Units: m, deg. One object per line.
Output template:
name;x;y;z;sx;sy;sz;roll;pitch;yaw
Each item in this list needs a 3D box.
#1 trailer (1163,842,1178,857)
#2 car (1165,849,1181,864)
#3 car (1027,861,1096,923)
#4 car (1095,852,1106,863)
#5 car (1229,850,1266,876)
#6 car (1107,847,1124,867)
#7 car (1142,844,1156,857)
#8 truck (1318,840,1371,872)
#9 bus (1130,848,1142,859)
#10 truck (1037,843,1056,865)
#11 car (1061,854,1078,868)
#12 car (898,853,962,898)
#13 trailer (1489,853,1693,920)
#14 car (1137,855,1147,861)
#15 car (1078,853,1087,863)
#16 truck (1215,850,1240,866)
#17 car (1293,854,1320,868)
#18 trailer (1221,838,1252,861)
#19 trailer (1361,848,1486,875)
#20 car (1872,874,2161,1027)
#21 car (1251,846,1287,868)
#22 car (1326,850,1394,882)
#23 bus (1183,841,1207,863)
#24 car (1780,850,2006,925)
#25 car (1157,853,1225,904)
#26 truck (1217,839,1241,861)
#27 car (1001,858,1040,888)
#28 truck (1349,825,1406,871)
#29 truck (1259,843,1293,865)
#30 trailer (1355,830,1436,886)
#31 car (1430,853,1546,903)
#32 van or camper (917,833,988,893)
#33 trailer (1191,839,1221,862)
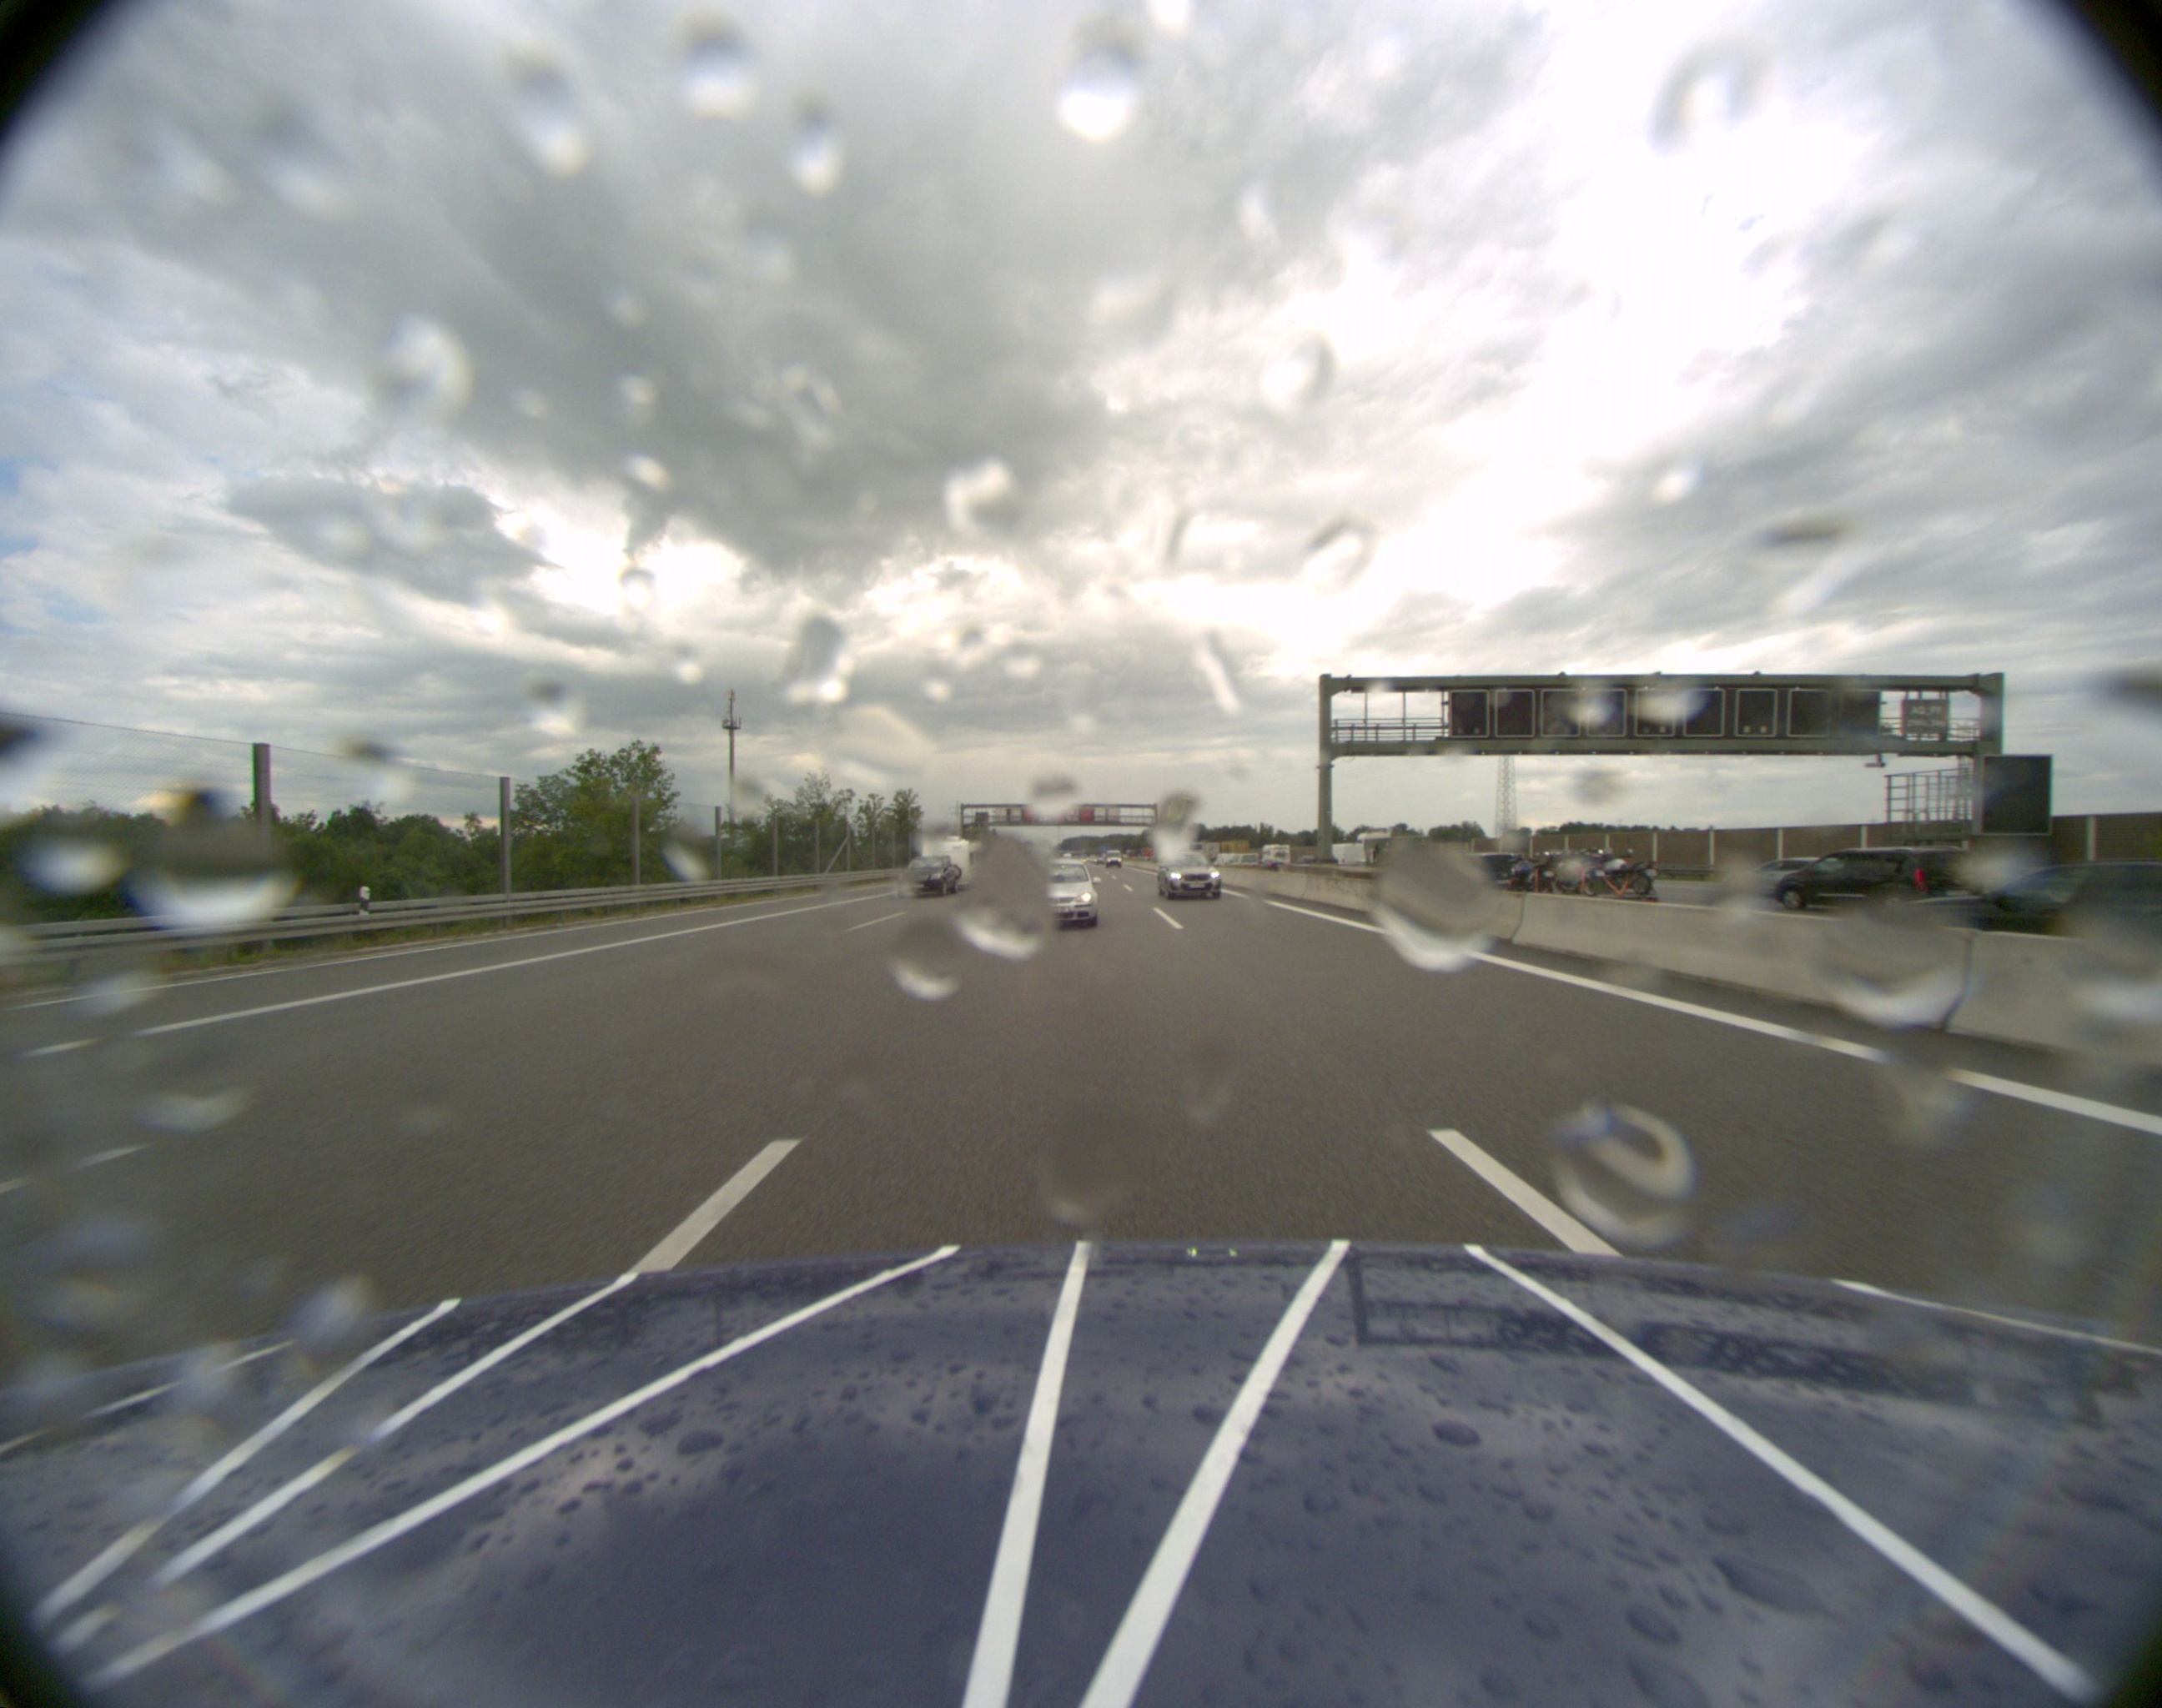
trailer;27.006;-1.278;229.488;2.908;4.091;12.697;-2;0;-1
car;15.558;0.461;128.637;2.141;2.338;5.711;-2;0;1
car;-0.499;0.944;20.672;1.683;1.437;3.999;-1;0;-1
car;3.746;0.718;145.866;1.999;2.002;4.000;-2;0;-1
car;15.054;0.760;69.118;2.235;2.224;5.513;0;0;1
car;4.690;0.404;103.836;1.999;2.524;4.808;-2;0;-1
car;22.346;-1.056;248.794;2.990;4.099;14.394;-2;0;-1
truck;22.488;0.121;65.130;2.249;2.588;6.558;-1;0;0
bus;18.792;-0.168;260.968;2.897;3.590;12.758;-2;0;-1
truck;-6.212;0.004;137.649;2.870;3.632;9.593;-2;0;-1
car;-1.462;0.915;96.665;1.999;1.701;3.999;-2;0;-2
car;-6.494;0.893;33.164;1.925;1.765;4.502;-1;0;-1
trailer;14.902;0.844;22.811;2.149;1.699;6.046;0;0;1
car;14.732;1.021;183.319;1.792;1.373;4.860;-2;0;-1
car;0.307;0.828;163.643;1.999;2.002;4.000;-2;0;-1
truck;19.176;0.468;99.632;2.249;1.988;5.544;0;0;0
car;26.097;0.778;88.011;1.812;1.479;4.773;0;0;1
trailer;27.432;-0.767;134.481;3.036;3.910;12.974;0;0;1
trailer;26.216;0.496;59.710;2.759;1.818;16.350;-1;0;1
car;13.980;1.201;10.040;1.885;1.734;5.110;-1;0;3
car;18.242;0.275;74.076;2.249;2.101;5.541;0;0;1
car;18.937;0.758;51.895;2.455;2.039;6.194;-1;0;1
bus;19.503;-0.360;130.181;2.660;3.658;10.634;0;0;1
car;21.968;0.824;20.842;1.752;1.837;4.165;-1;0;0
car;3.864;0.812;27.482;1.840;1.615;4.915;-1;0;1
truck;27.580;-0.749;141.546;3.036;3.910;7.710;0;0;1
car;-3.053;0.943;38.953;1.717;1.437;4.000;-1;0;-1
truck;26.394;-0.487;67.893;2.759;3.864;6.051;-1;0;1
truck;26.273;-0.006;102.510;2.698;2.797;7.834;0;0;1
trailer;18.800;0.224;45.761;2.455;3.120;6.051;-1;0;1
car;14.933;0.816;28.246;1.821;1.699;4.806;0;0;1
van or camper;-6.451;0.414;39.042;2.390;2.722;7.208;-2;0;-1
trailer;22.468;-0.546;137.287;2.893;3.938;14.298;-2;0;0
